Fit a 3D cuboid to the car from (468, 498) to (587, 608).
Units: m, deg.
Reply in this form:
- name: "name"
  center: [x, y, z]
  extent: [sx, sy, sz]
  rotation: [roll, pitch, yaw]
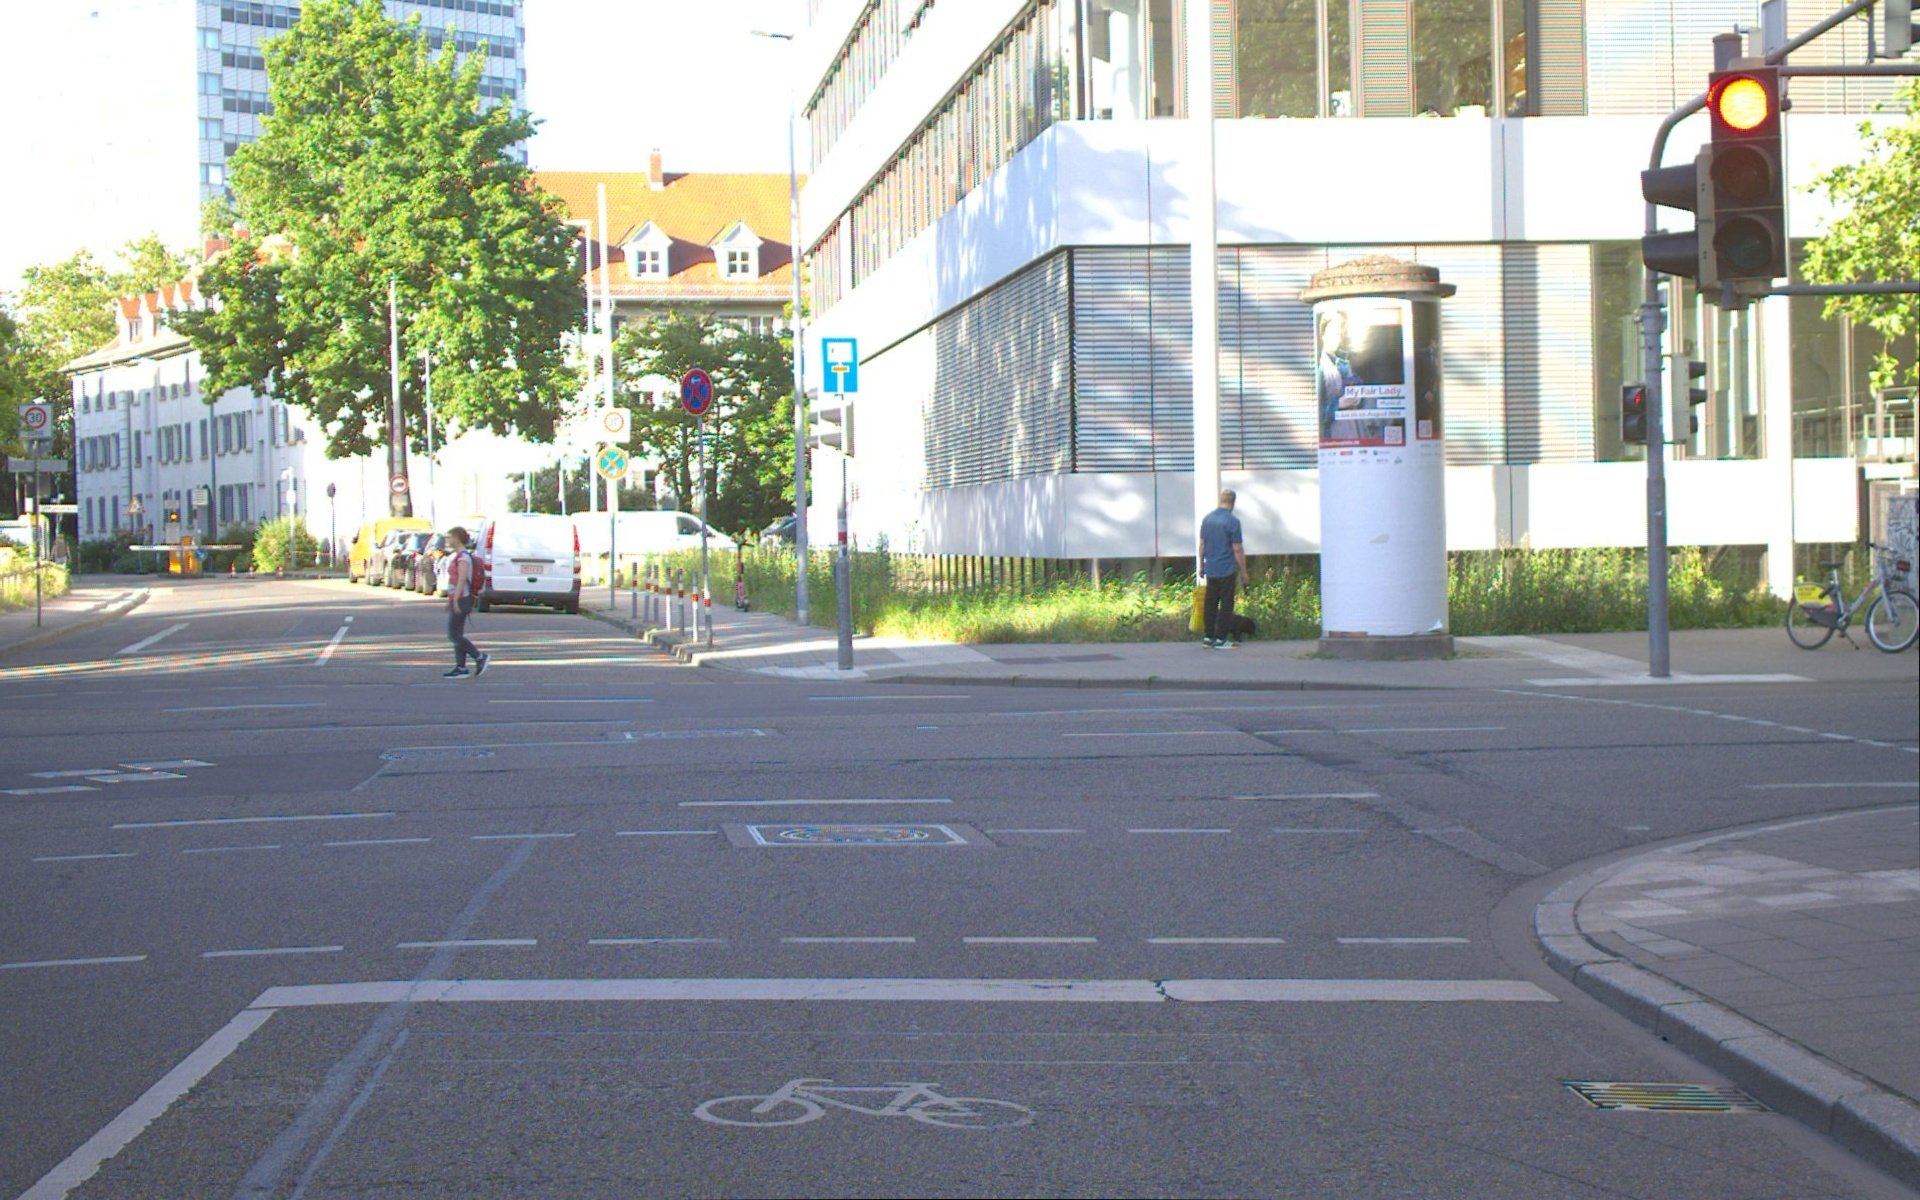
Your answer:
- name: "car"
  center: [-8.169, -0.900, 64.656]
  extent: [2.066, 1.956, 4.239]
  rotation: [-1, 1, -9]

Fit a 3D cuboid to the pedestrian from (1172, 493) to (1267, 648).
- name: "pedestrian"
  center: [2.934, -0.336, 38.857]
  extent: [0.811, 1.730, 0.653]
  rotation: [0, 2, 45]

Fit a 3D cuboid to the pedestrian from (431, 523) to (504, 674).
- name: "pedestrian"
  center: [-5.272, -0.020, 36.856]
  extent: [0.711, 1.594, 0.617]
  rotation: [-1, 1, -5]

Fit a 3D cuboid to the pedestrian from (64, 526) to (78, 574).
- name: "pedestrian"
  center: [-28.526, -1.592, 110.332]
  extent: [0.380, 1.529, 0.446]
  rotation: [-1, 1, -12]

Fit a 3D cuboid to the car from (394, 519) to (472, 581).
- name: "car"
  center: [-13.190, -1.262, 85.851]
  extent: [1.703, 1.459, 4.239]
  rotation: [-1, 1, -11]

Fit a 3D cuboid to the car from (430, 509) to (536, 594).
- name: "car"
  center: [-10.628, -1.089, 76.382]
  extent: [1.946, 1.789, 4.239]
  rotation: [-1, 1, -13]

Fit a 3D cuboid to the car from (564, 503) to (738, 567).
- name: "car"
  center: [-9.240, -1.933, 102.863]
  extent: [4.880, 1.865, 2.001]
  rotation: [0, 0, -17]

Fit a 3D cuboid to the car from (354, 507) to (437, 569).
- name: "car"
  center: [-15.741, -1.721, 95.668]
  extent: [2.100, 1.652, 4.477]
  rotation: [-1, 1, -11]

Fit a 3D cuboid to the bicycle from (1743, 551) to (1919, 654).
- name: "bicycle"
  center: [9.179, 0.019, 36.132]
  extent: [0.463, 1.045, 1.914]
  rotation: [-2, 2, -42]

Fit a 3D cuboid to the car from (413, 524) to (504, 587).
- name: "car"
  center: [-11.909, -1.072, 81.419]
  extent: [1.703, 1.419, 4.239]
  rotation: [-1, 1, -14]
